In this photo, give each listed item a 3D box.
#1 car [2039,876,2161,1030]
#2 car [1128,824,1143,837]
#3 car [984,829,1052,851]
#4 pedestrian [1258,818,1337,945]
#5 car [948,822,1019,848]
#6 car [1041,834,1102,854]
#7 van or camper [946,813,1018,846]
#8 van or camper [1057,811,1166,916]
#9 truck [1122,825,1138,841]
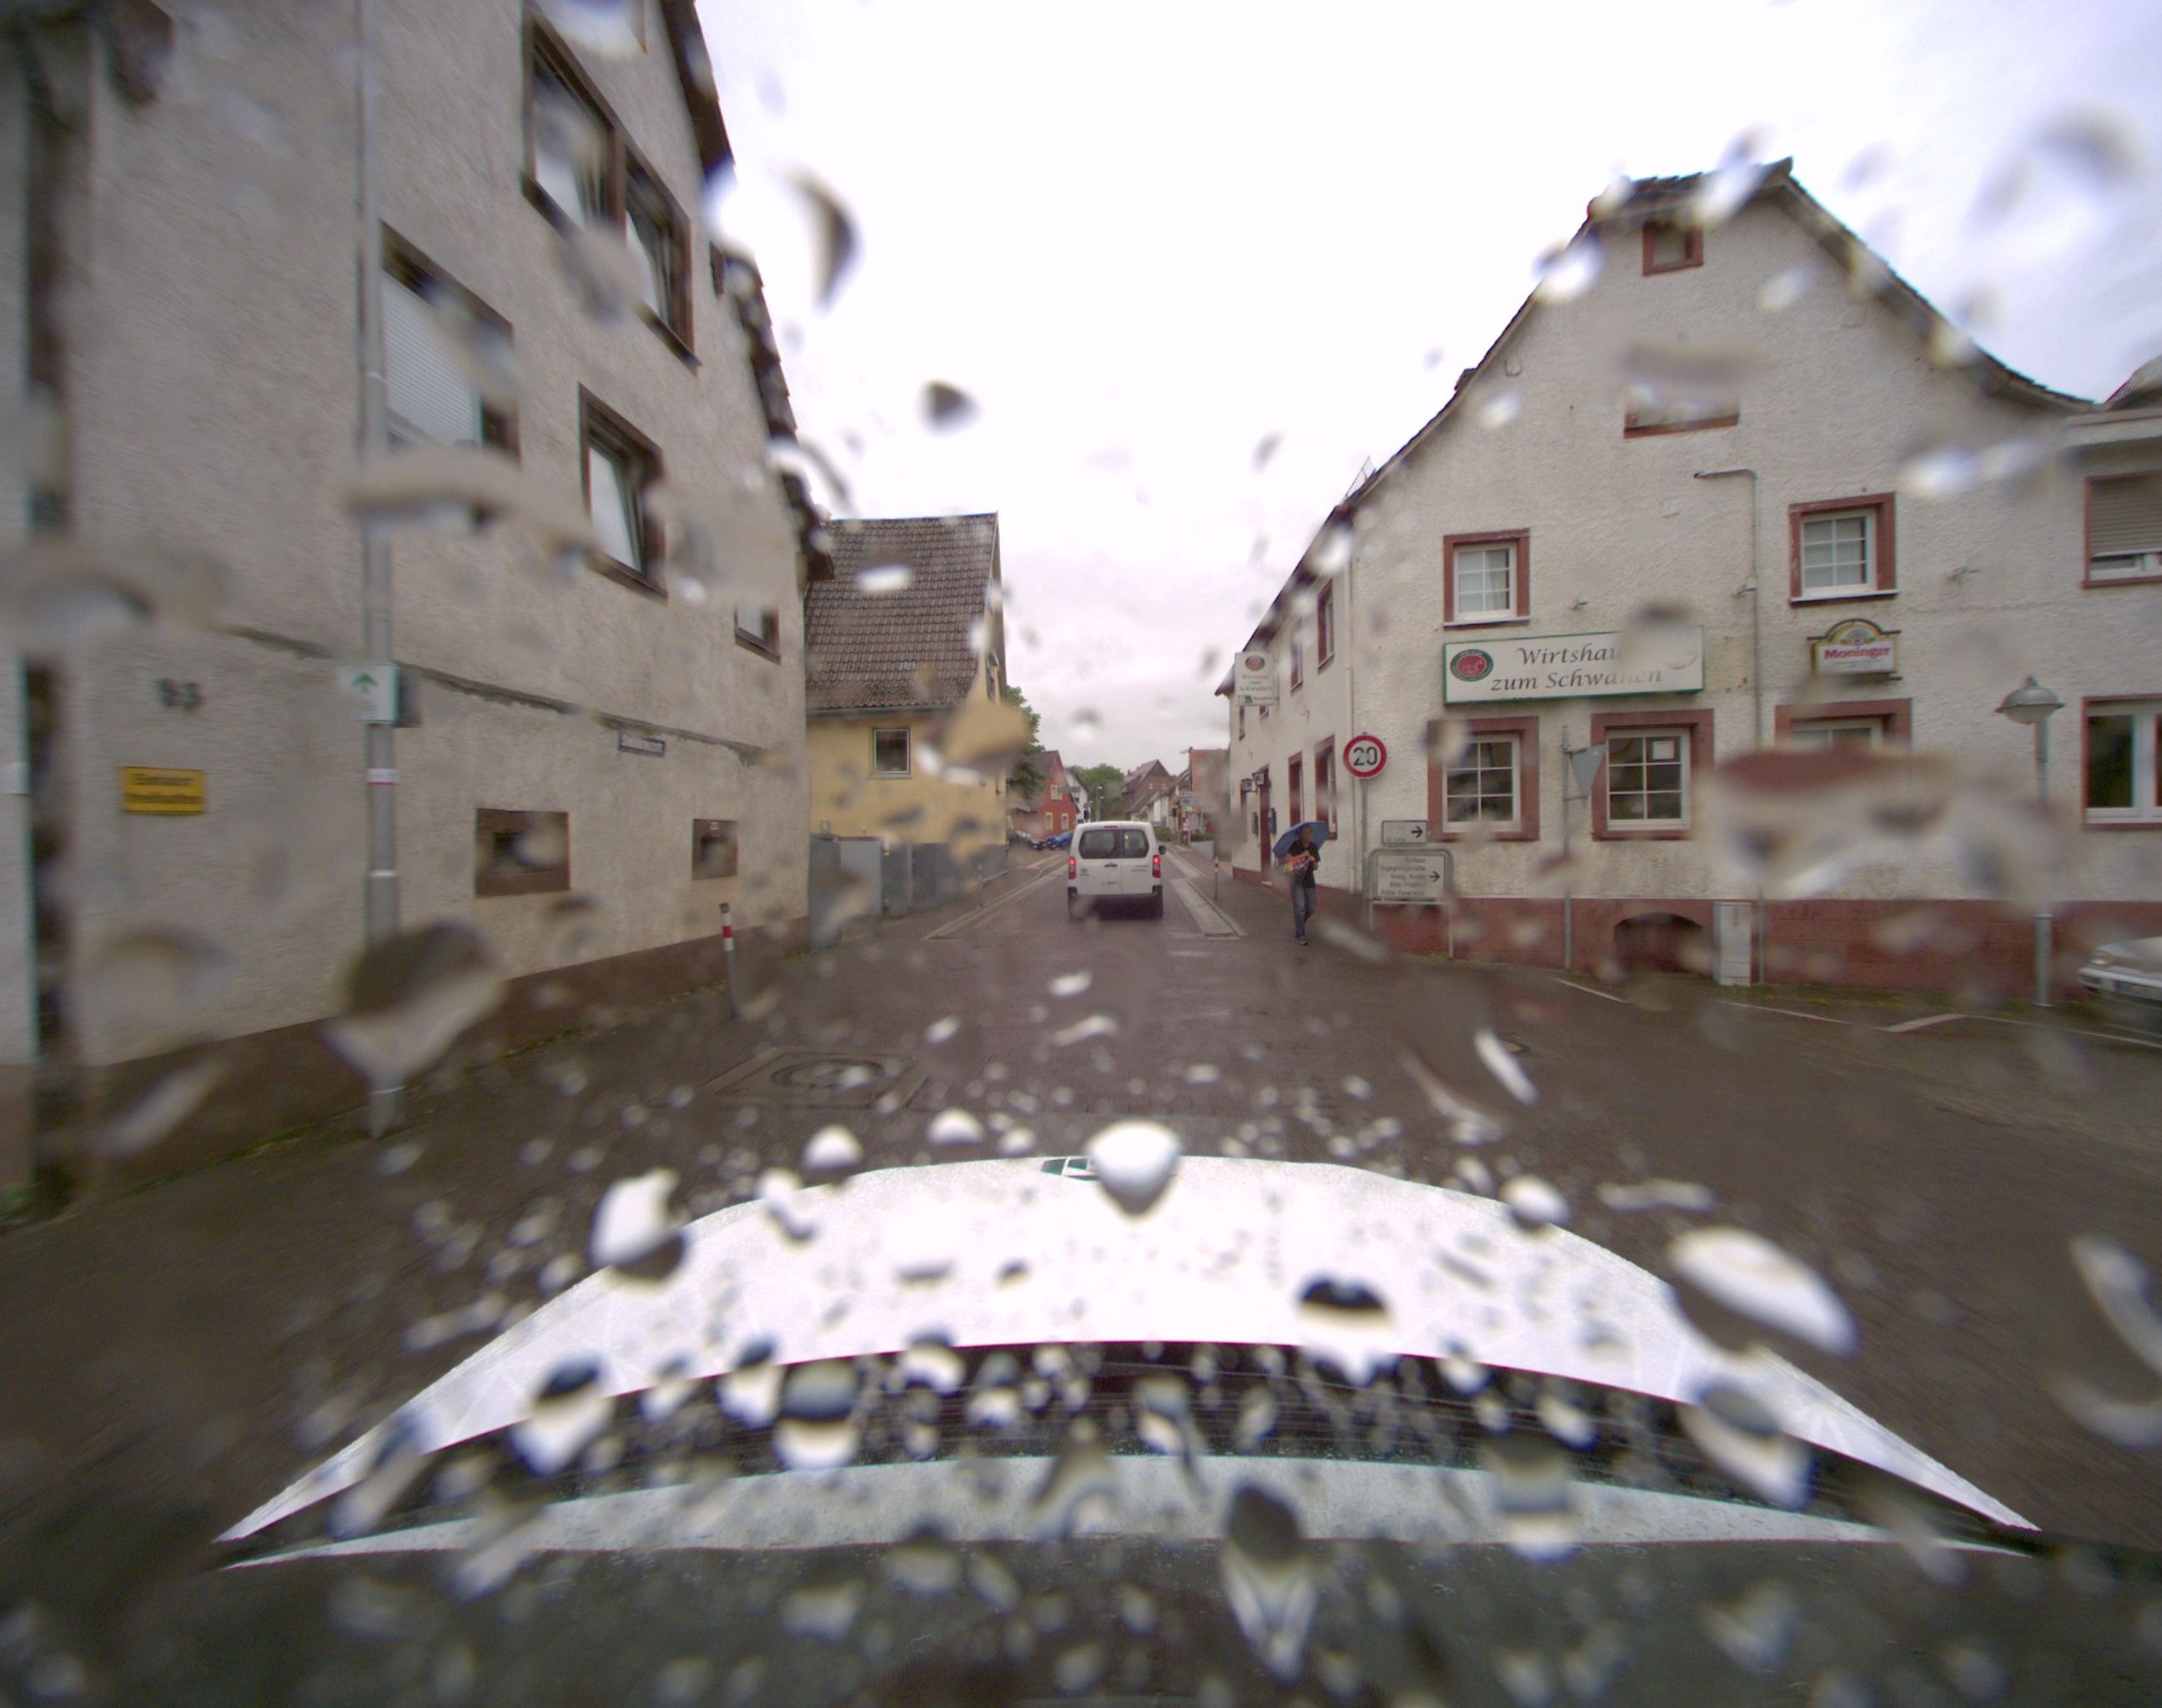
[{"bbox_3d":[12.038,0.962,7.546,3.925,1.373,1.668,1,1,10],"label":"car"},{"bbox_3d":[7.713,-3.291,114.970,1.986,1.747,4.002,-1,1,1],"label":"car"},{"bbox_3d":[-4.341,-0.970,56.302,4.265,1.477,1.859,1,1,19],"label":"car"},{"bbox_3d":[3.077,0.364,11.651,0.989,1.735,0.813,0,3,7],"label":"pedestrian"},{"bbox_3d":[-6.626,-1.309,55.347,4.406,1.549,1.894,2,4,24],"label":"car"},{"bbox_3d":[-0.698,-0.760,60.161,4.016,1.373,2.089,-2,0,-34],"label":"car"},{"bbox_3d":[-7.669,-1.879,63.082,5.093,2.435,2.225,0,3,29],"label":"van or camper"},{"bbox_3d":[0.614,0.129,16.605,1.936,1.851,4.002,1,1,2],"label":"van or camper"},{"bbox_3d":[7.665,-3.286,128.712,2.342,2.425,4.951,-1,1,1],"label":"truck"}]
